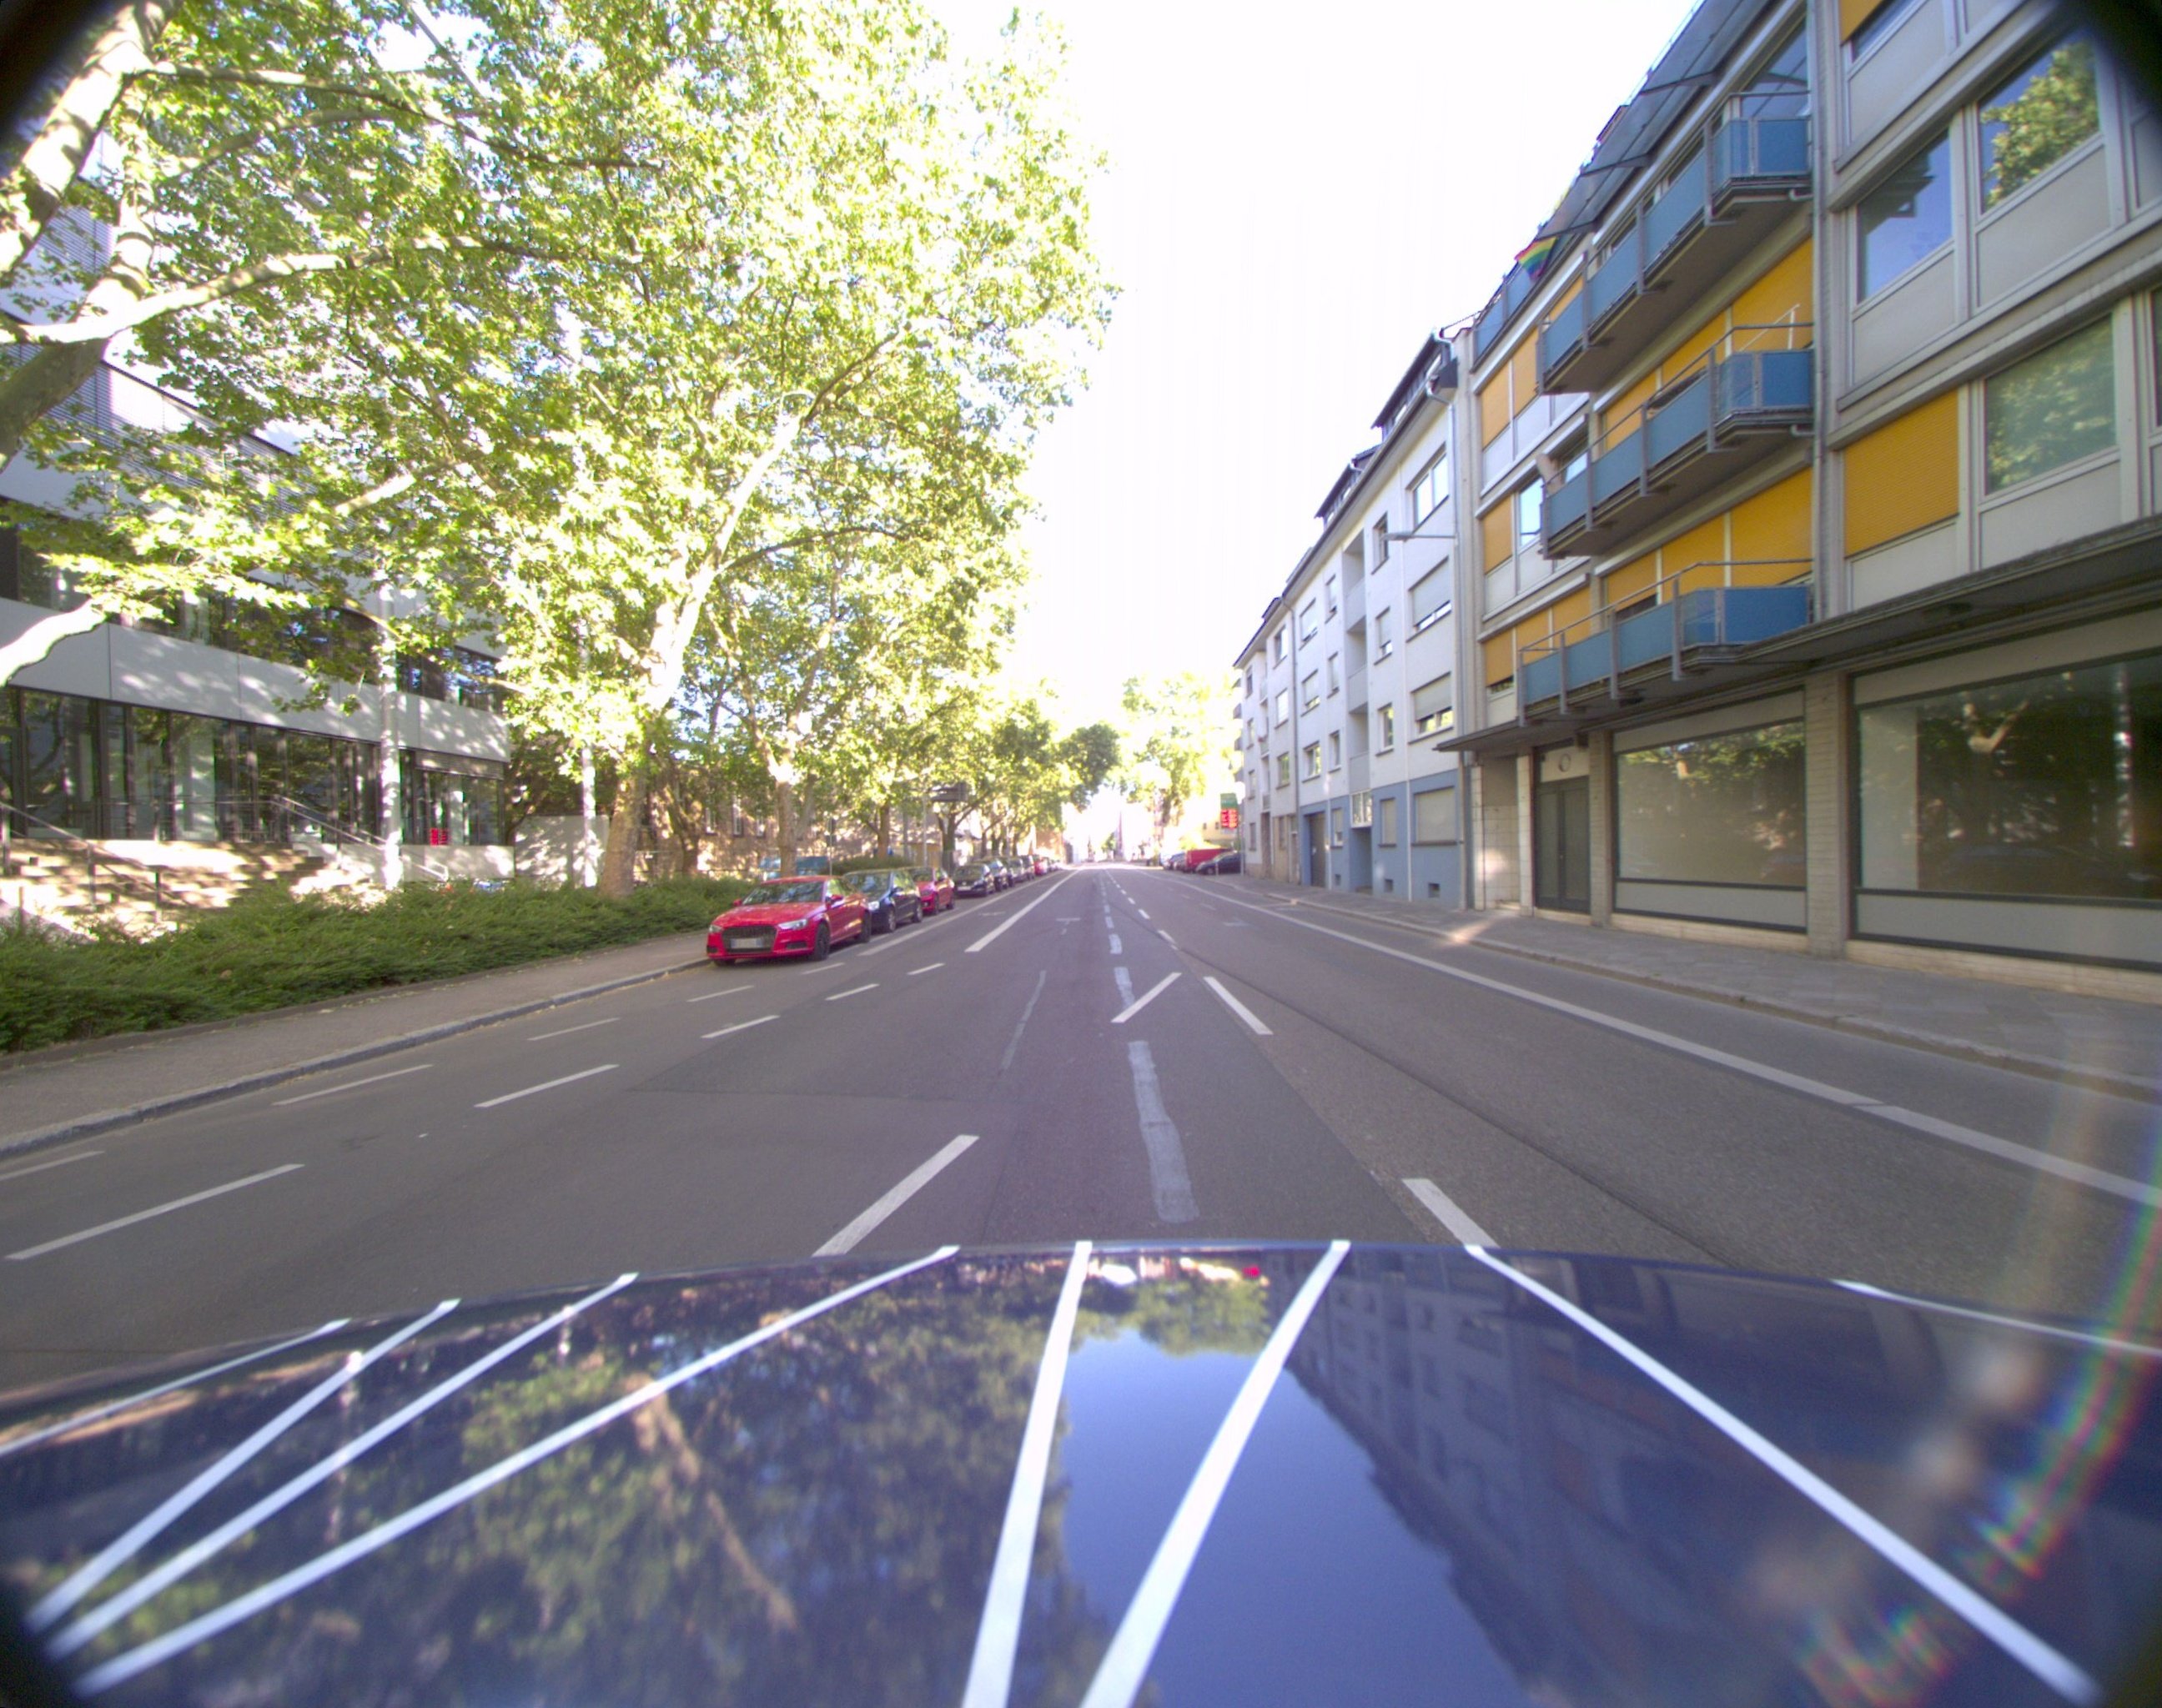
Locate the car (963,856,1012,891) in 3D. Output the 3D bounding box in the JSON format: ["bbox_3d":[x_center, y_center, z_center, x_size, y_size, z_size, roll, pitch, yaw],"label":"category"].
[{"bbox_3d":[-4.623,0.921,38.214,1.848,1.572,4.232,-1,0,1],"label":"car"}]

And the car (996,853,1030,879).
[{"bbox_3d":[-4.441,0.739,50.459,1.798,1.608,4.075,-1,0,1],"label":"car"}]

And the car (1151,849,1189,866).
[{"bbox_3d":[9.486,0.377,80.865,3.728,1.579,1.743,-2,1,-5],"label":"car"}]

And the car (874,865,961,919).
[{"bbox_3d":[-4.988,1.105,23.730,1.790,1.429,4.000,-1,0,1],"label":"car"}]

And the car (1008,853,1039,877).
[{"bbox_3d":[-4.169,0.751,55.515,1.831,1.608,4.177,-1,0,1],"label":"car"}]

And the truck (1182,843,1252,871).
[{"bbox_3d":[10.727,0.241,60.101,5.088,2.009,2.000,-2,1,0],"label":"truck"}]

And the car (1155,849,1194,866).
[{"bbox_3d":[9.615,0.381,78.574,3.703,1.573,1.718,-2,1,-5],"label":"car"}]

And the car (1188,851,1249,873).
[{"bbox_3d":[9.893,0.543,54.789,3.997,1.385,1.781,-2,1,-1],"label":"car"}]

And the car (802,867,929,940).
[{"bbox_3d":[-5.073,1.117,18.463,1.813,1.449,4.000,-1,0,2],"label":"car"}]

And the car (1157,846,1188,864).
[{"bbox_3d":[10.231,0.111,85.272,3.267,1.927,1.693,-2,1,2],"label":"car"}]

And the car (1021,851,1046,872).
[{"bbox_3d":[-4.107,0.616,66.185,1.876,1.685,4.166,-1,0,1],"label":"car"}]

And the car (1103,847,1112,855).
[{"bbox_3d":[6.766,-0.792,193.467,1.998,2.002,3.999,-2,1,1],"label":"car"}]

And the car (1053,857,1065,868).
[{"bbox_3d":[-2.628,1.030,92.339,1.300,1.220,3.241,-1,0,0],"label":"car"}]

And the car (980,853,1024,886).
[{"bbox_3d":[-4.545,0.868,44.198,1.998,1.715,4.262,-2,1,1],"label":"car"}]

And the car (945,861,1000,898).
[{"bbox_3d":[-4.677,1.082,33.268,1.745,1.430,4.000,-1,0,1],"label":"car"}]

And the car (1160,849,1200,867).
[{"bbox_3d":[9.880,0.385,75.915,3.658,1.578,1.659,-2,1,-5],"label":"car"}]

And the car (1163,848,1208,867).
[{"bbox_3d":[10.080,0.347,73.367,3.998,1.618,1.702,-2,1,-5],"label":"car"}]

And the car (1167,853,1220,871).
[{"bbox_3d":[9.309,0.631,62.818,4.033,1.265,1.906,-2,1,-1],"label":"car"}]

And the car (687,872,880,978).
[{"bbox_3d":[-5.087,1.128,13.665,1.775,1.416,4.173,-3,0,0],"label":"car"}]

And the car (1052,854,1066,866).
[{"bbox_3d":[-3.000,0.818,102.937,1.707,1.459,3.809,-1,0,0],"label":"car"}]
